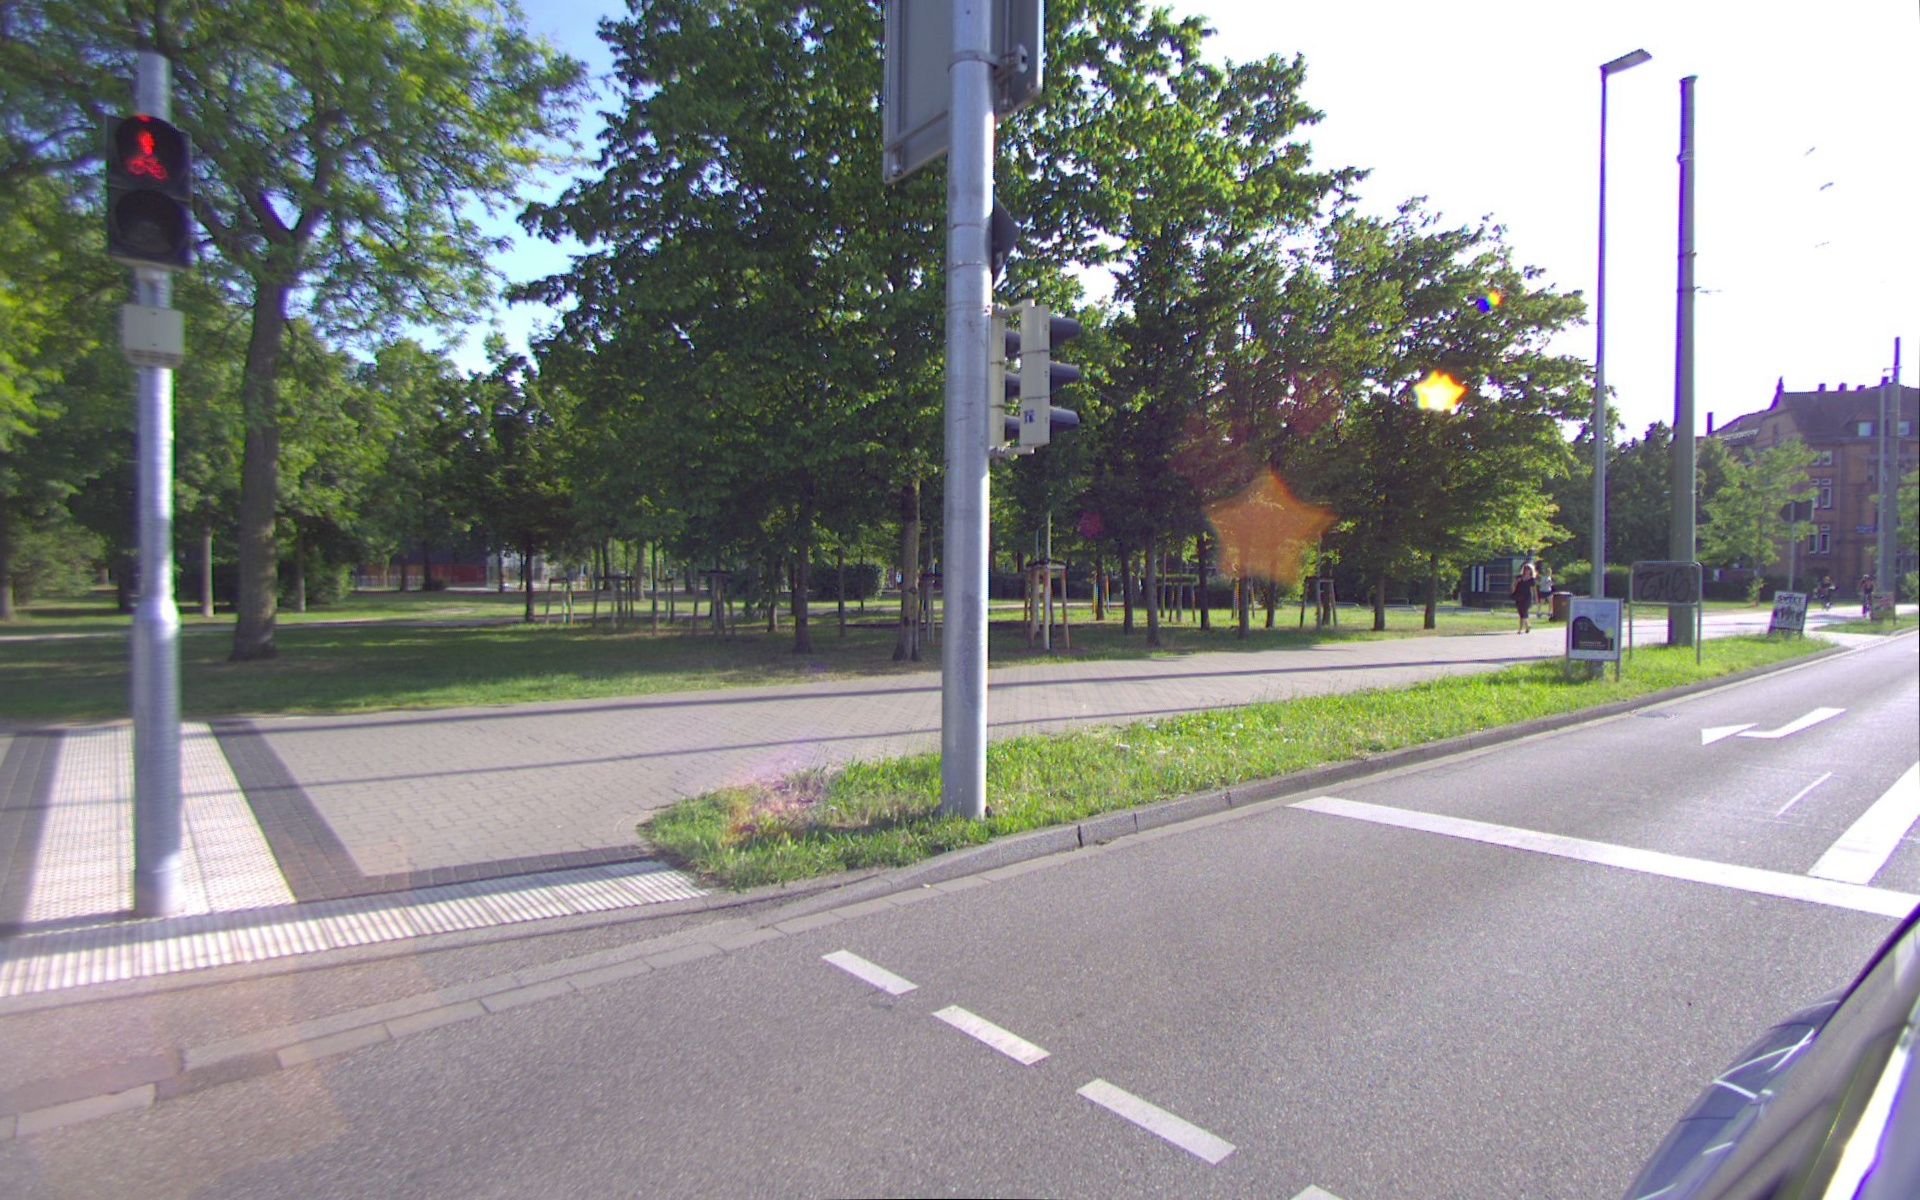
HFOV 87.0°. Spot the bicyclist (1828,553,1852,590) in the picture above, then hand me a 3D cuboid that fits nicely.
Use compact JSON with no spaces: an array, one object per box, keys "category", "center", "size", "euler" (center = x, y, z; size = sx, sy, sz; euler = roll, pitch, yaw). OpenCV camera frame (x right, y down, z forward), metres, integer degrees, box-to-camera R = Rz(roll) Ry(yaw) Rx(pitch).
[{"category":"bicyclist","center":[43.343,-1.400,49.849],"size":[1.100,1.795,0.753],"euler":[-1,1,-42]}]

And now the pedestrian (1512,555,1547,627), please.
[{"category":"pedestrian","center":[13.823,-0.224,24.566],"size":[0.651,1.722,0.557],"euler":[-1,1,-42]}]

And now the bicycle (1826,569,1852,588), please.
[{"category":"bicycle","center":[43.343,-1.066,49.874],"size":[2.059,0.929,0.739],"euler":[-1,2,-42]}]

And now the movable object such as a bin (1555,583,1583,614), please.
[{"category":"movable object such as a bin","center":[18.401,-0.051,30.571],"size":[0.514,0.915,0.504],"euler":[0,1,-2]}]

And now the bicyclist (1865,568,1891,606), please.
[{"category":"bicyclist","center":[44.195,-0.660,48.716],"size":[0.996,1.795,0.731],"euler":[-2,2,-37]}]

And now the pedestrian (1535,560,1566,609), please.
[{"category":"pedestrian","center":[20.318,-0.544,34.815],"size":[0.609,1.671,0.664],"euler":[0,1,-16]}]

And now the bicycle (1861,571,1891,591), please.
[{"category":"bicycle","center":[44.016,-0.929,48.619],"size":[2.057,0.929,0.740],"euler":[-1,2,-38]}]

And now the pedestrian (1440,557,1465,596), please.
[{"category":"pedestrian","center":[28.192,-1.332,57.938],"size":[0.873,2.185,0.913],"euler":[0,1,-29]}]
